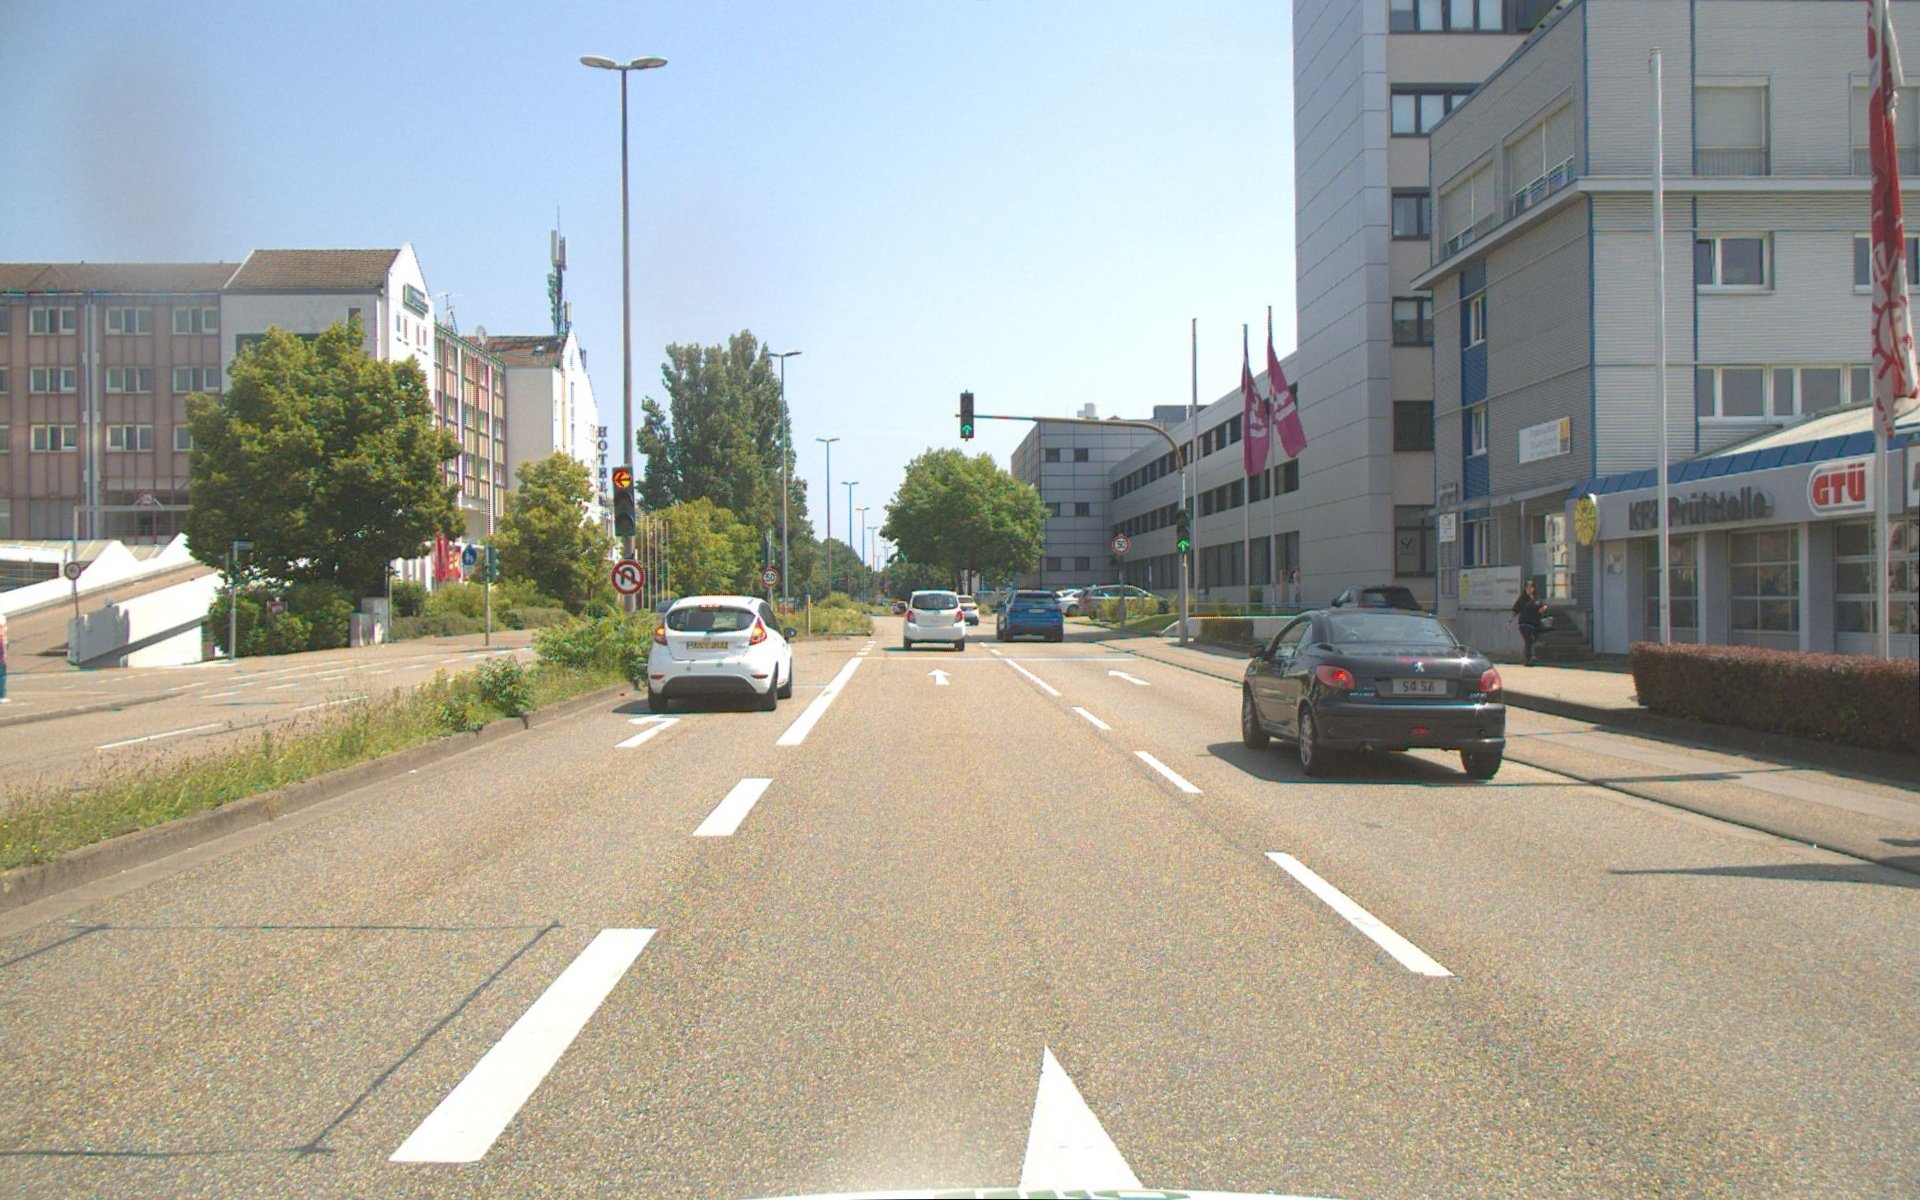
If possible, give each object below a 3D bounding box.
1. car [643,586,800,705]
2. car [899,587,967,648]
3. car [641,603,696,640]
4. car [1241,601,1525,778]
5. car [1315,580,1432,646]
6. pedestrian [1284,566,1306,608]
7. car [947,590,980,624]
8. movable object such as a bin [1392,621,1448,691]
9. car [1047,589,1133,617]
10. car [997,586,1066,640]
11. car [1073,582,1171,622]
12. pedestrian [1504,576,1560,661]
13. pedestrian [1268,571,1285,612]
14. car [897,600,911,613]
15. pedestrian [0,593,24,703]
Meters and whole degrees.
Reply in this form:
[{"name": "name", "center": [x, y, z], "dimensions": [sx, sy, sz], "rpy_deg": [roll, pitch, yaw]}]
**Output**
[{"name": "car", "center": [-3.154, 0.561, 22.485], "dimensions": [1.654, 1.459, 3.710], "rpy_deg": [-1, 0, -1]}, {"name": "car", "center": [-0.695, 0.448, 44.081], "dimensions": [1.712, 1.546, 3.745], "rpy_deg": [0, 0, 0]}, {"name": "car", "center": [-12.874, 0.933, 73.353], "dimensions": [1.954, 1.512, 4.497], "rpy_deg": [-1, 0, -5]}, {"name": "car", "center": [3.679, 0.715, 14.981], "dimensions": [1.594, 1.388, 3.605], "rpy_deg": [0, 0, -1]}, {"name": "car", "center": [10.347, 0.314, 41.675], "dimensions": [1.806, 1.558, 4.195], "rpy_deg": [1, 0, -2]}, {"name": "pedestrian", "center": [13.579, -0.520, 66.996], "dimensions": [0.514, 1.692, 0.753], "rpy_deg": [-1, 0, -19]}, {"name": "car", "center": [0.191, 0.321, 78.996], "dimensions": [1.527, 1.546, 3.606], "rpy_deg": [-1, 0, 1]}, {"name": "movable object such as a bin", "center": [6.533, 0.793, 23.505], "dimensions": [0.540, 0.935, 0.652], "rpy_deg": [-4, 0, -1]}, {"name": "car", "center": [7.257, 0.166, 92.499], "dimensions": [4.524, 1.414, 1.997], "rpy_deg": [-1, 0, -6]}, {"name": "car", "center": [2.202, 0.379, 51.837], "dimensions": [1.791, 1.608, 3.603], "rpy_deg": [-1, 0, -4]}, {"name": "car", "center": [7.508, 0.083, 76.845], "dimensions": [4.177, 1.718, 1.997], "rpy_deg": [-1, 0, -7]}, {"name": "pedestrian", "center": [11.351, 0.358, 32.838], "dimensions": [0.793, 1.655, 0.853], "rpy_deg": [-1, 0, 1]}, {"name": "pedestrian", "center": [13.142, -0.349, 68.686], "dimensions": [0.580, 1.663, 0.523], "rpy_deg": [-1, 0, 6]}, {"name": "car", "center": [-7.400, 0.799, 217.790], "dimensions": [1.783, 1.691, 3.998], "rpy_deg": [-1, 0, -3]}, {"name": "pedestrian", "center": [-15.845, 0.774, 26.815], "dimensions": [0.725, 1.777, 1.033], "rpy_deg": [-1, 0, 1]}]
